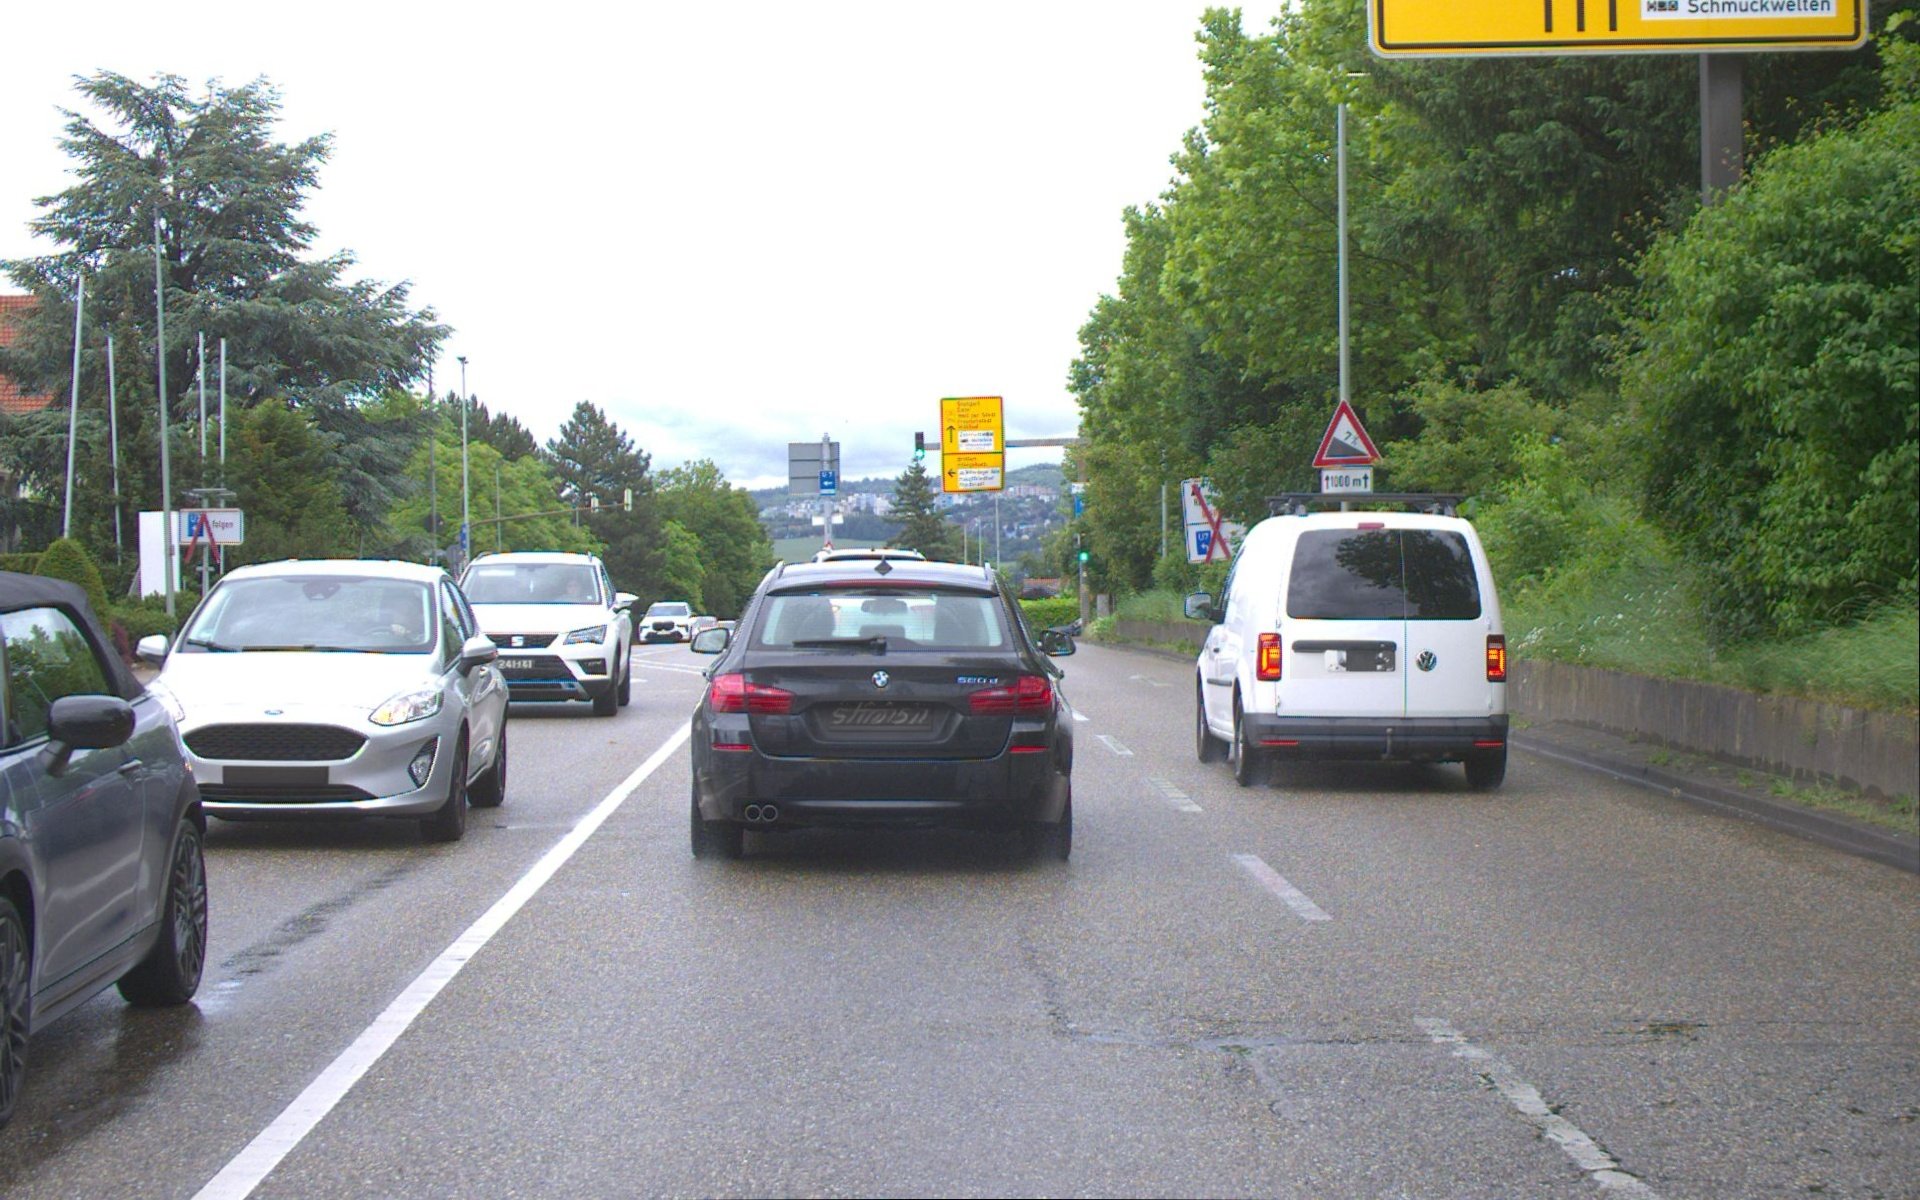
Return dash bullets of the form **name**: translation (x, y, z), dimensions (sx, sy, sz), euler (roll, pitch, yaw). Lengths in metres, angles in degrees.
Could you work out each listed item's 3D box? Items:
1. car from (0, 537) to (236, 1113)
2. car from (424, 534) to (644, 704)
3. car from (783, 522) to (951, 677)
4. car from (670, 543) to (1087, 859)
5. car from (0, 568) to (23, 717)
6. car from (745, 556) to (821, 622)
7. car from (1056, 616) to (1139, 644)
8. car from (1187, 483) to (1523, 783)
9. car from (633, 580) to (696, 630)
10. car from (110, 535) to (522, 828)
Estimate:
- **car**: translation (-3.268, 0.552, 9.946), dimensions (1.601, 1.436, 3.949), euler (0, 2, -1)
- **car**: translation (-4.194, 0.170, 34.412), dimensions (1.787, 1.575, 4.239), euler (-1, 0, -2)
- **car**: translation (-1.045, -0.051, 40.228), dimensions (1.868, 1.668, 4.001), euler (0, 2, 0)
- **car**: translation (-0.380, 0.444, 17.679), dimensions (1.899, 1.436, 4.000), euler (0, 0, 0)
- **car**: translation (-10.640, 0.484, 34.048), dimensions (1.637, 1.528, 3.972), euler (-3, 1, -1)
- **car**: translation (-4.803, -0.321, 93.841), dimensions (1.868, 1.668, 4.001), euler (0, 2, 0)
- **car**: translation (6.711, 1.456, 167.347), dimensions (3.987, 1.372, 1.585), euler (0, -1, 4)
- **car**: translation (2.600, 0.142, 23.435), dimensions (1.764, 1.871, 3.806), euler (0, 2, -1)
- **car**: translation (-11.396, 0.197, 132.713), dimensions (1.917, 1.757, 5.143), euler (-3, 0, 0)
- **car**: translation (-3.415, 0.391, 18.863), dimensions (1.601, 1.436, 3.949), euler (0, 0, -1)
